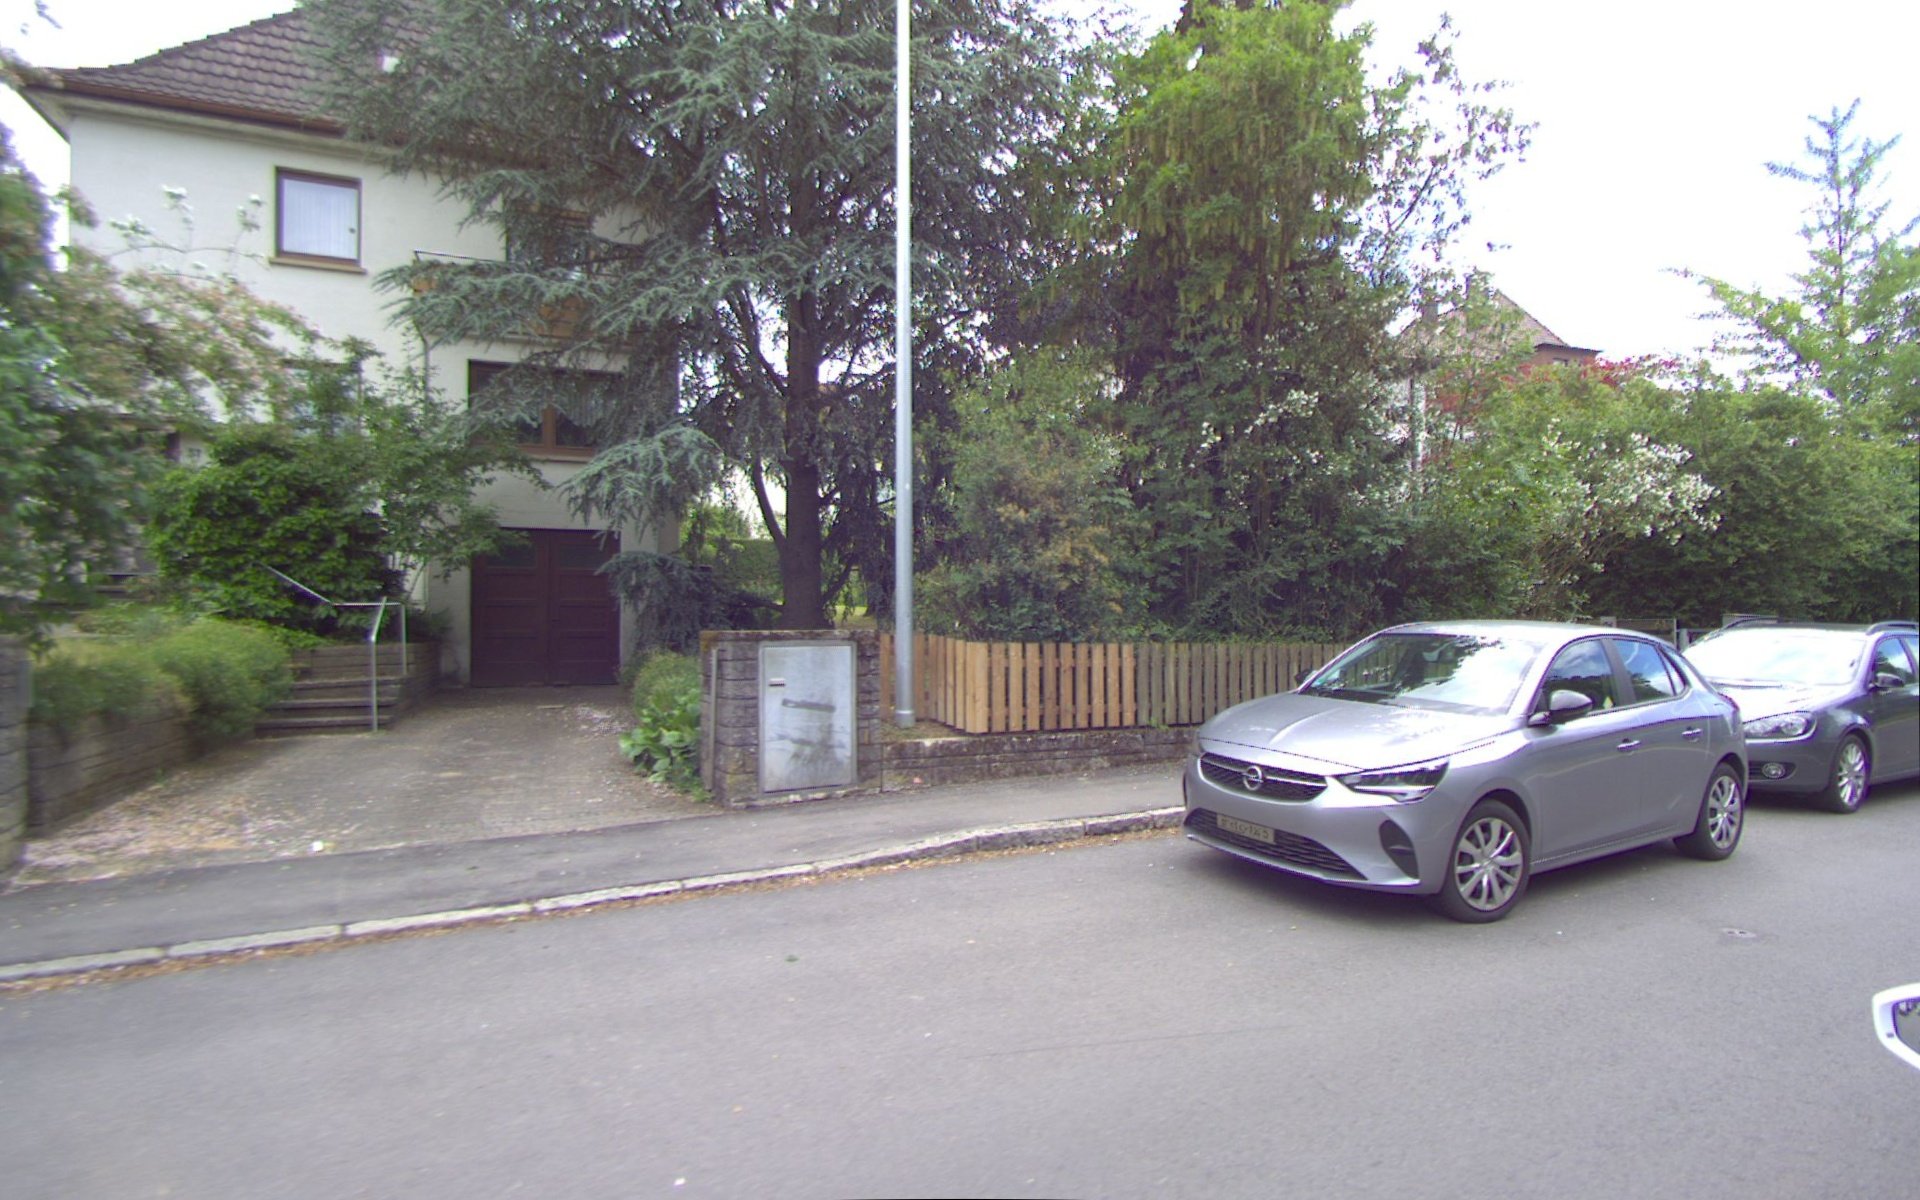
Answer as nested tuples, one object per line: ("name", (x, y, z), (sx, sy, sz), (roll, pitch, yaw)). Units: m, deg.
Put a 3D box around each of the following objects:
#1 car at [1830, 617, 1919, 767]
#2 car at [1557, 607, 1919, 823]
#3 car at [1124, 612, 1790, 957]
("car", (11.878, 1.000, 11.259), (4.307, 1.534, 1.701), (1, 0, -27))
("car", (7.543, 0.876, 9.058), (4.440, 1.534, 1.699), (1, 0, -29))
("car", (3.125, 0.830, 6.071), (4.114, 1.429, 1.698), (1, 0, -32))
